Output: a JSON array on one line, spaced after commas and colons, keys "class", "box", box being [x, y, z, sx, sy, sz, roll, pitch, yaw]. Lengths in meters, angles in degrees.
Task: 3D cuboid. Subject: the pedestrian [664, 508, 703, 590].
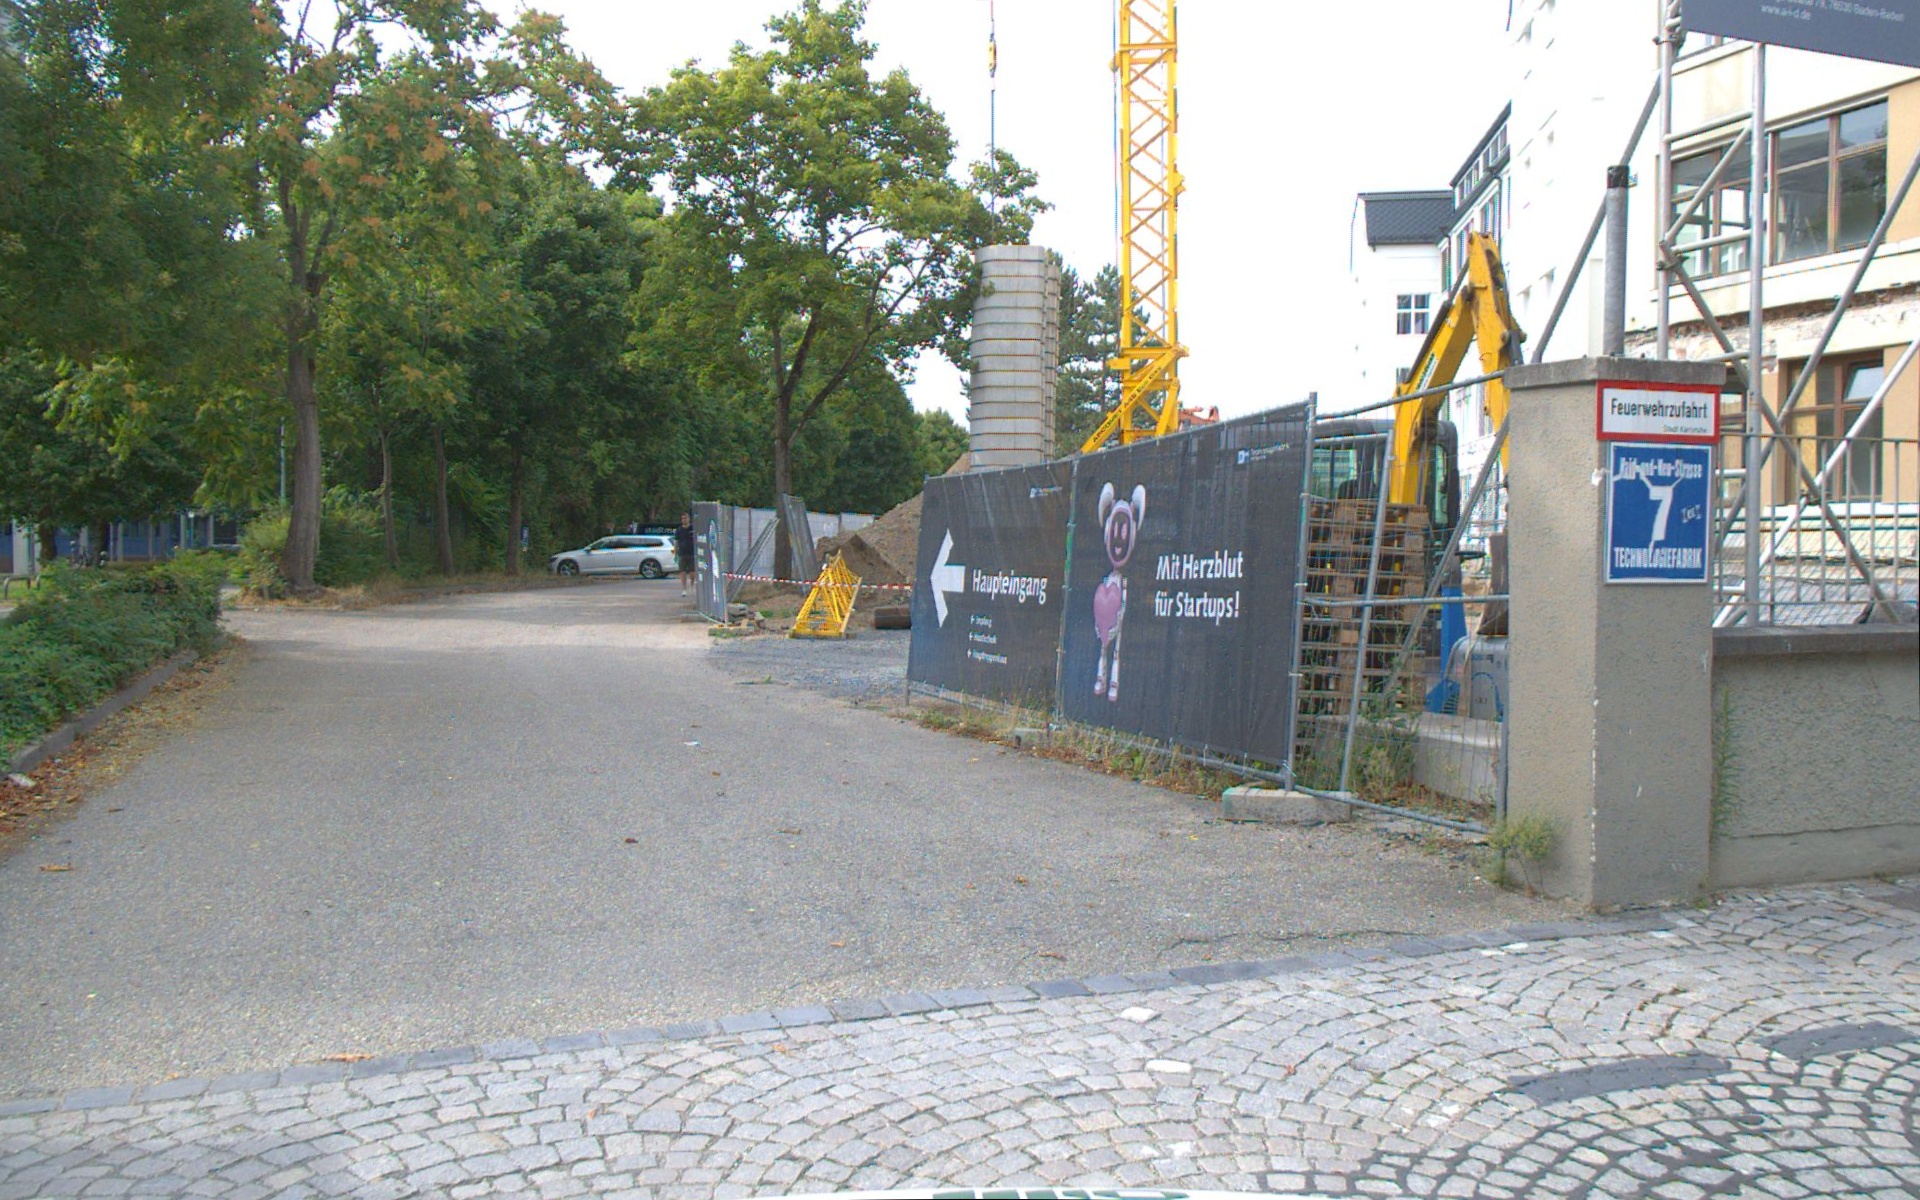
[{"class": "pedestrian", "box": [-6.221, -1.156, 37.259, 0.732, 1.820, 0.731, 0, 2, 1]}]

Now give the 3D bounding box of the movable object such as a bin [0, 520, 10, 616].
[{"class": "movable object such as a bin", "box": [-15.153, -0.469, 24.682, 1.253, 1.455, 1.123, 0, 2, 6]}]

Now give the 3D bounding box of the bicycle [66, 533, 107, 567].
[{"class": "bicycle", "box": [-31.636, -1.803, 59.920, 0.637, 1.202, 1.898, 0, 2, -7]}]

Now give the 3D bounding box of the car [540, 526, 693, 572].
[{"class": "car", "box": [-11.500, -1.735, 55.564, 4.694, 1.514, 2.001, 0, 2, 0]}]

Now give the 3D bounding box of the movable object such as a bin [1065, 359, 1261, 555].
[{"class": "movable object such as a bin", "box": [8.010, -5.238, 63.280, 3.771, 6.784, 10.976, 1, 3, 28]}]

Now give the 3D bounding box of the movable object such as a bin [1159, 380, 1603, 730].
[{"class": "movable object such as a bin", "box": [3.263, -0.386, 13.495, 2.445, 2.485, 3.054, 0, 2, -11]}]

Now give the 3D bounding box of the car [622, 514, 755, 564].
[{"class": "car", "box": [-10.962, -2.474, 66.934, 4.939, 1.987, 2.002, 0, 2, 4]}]
